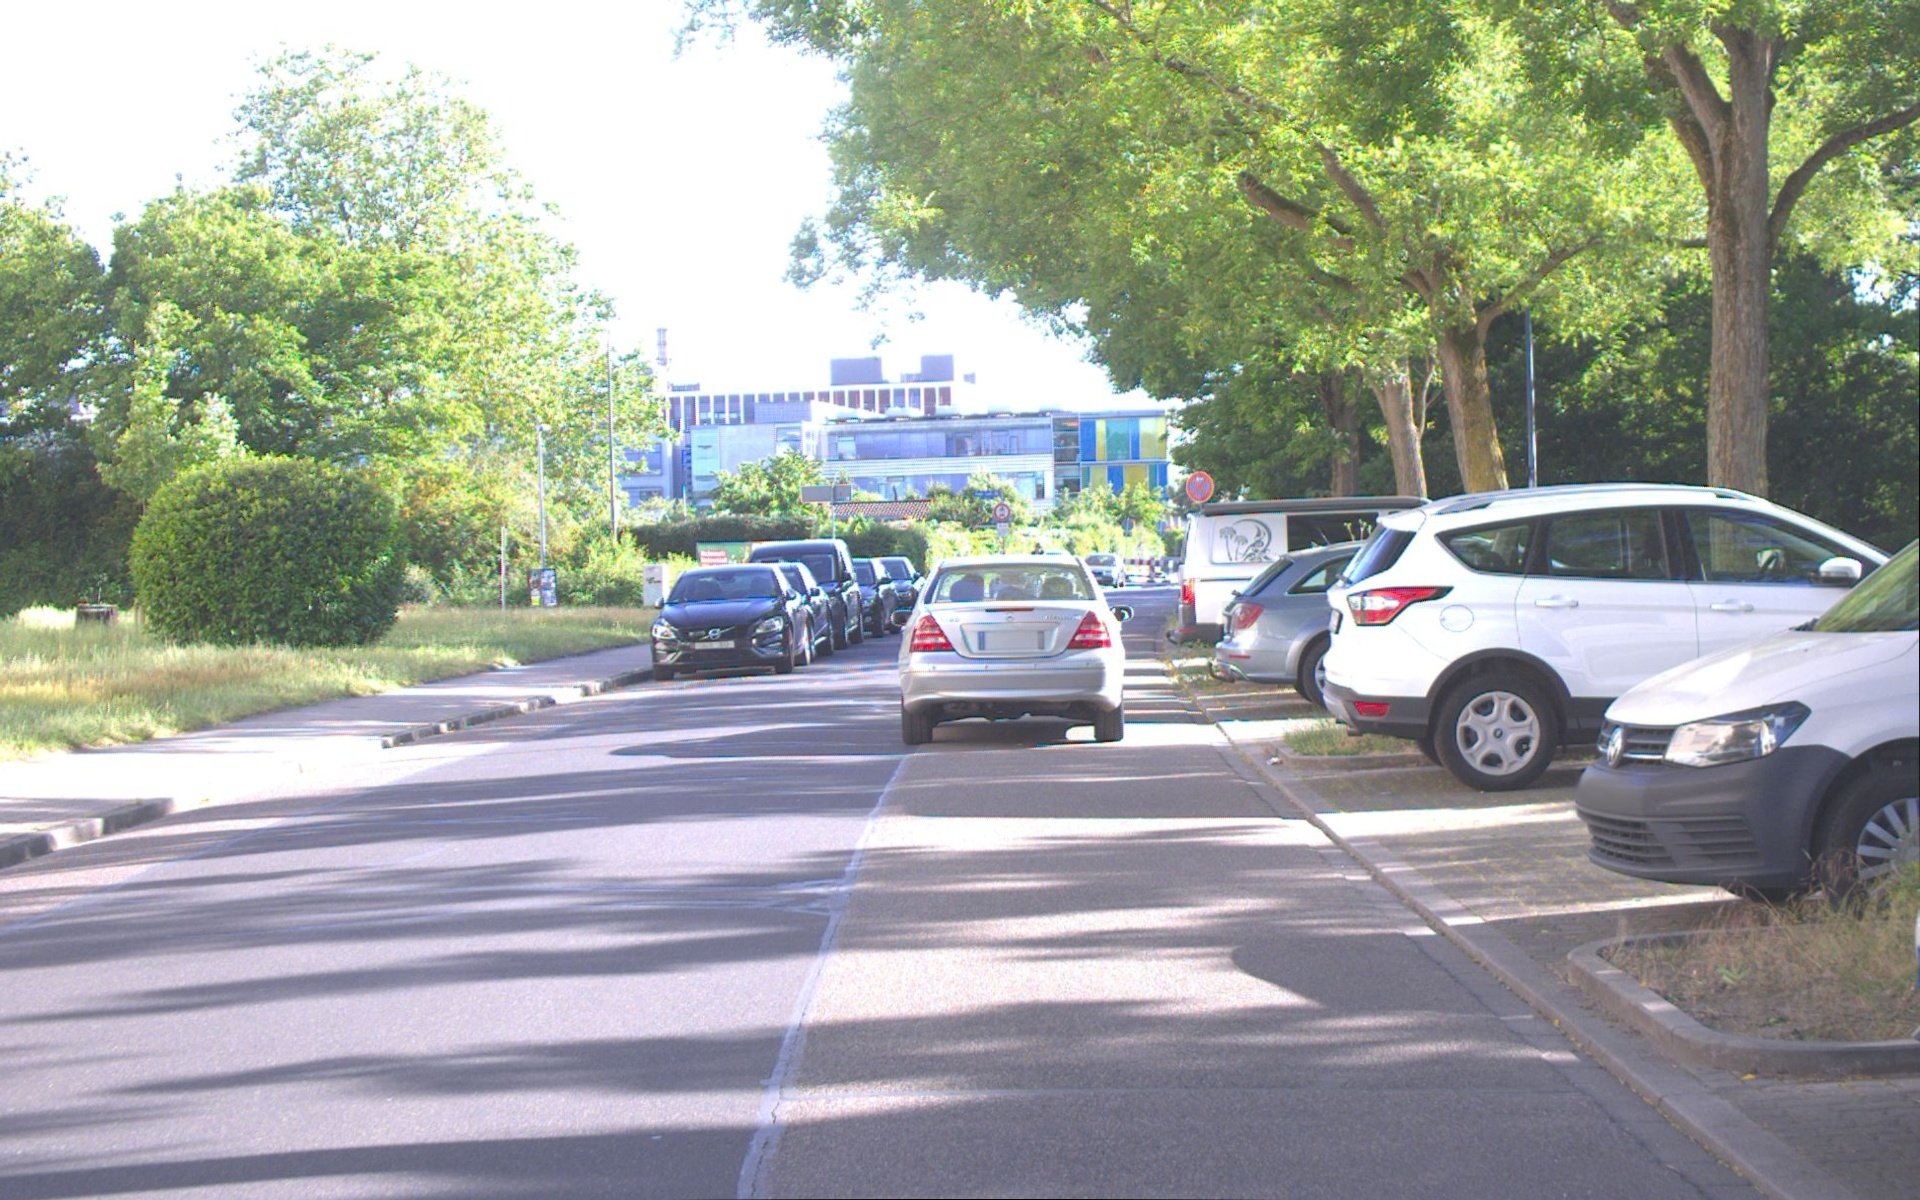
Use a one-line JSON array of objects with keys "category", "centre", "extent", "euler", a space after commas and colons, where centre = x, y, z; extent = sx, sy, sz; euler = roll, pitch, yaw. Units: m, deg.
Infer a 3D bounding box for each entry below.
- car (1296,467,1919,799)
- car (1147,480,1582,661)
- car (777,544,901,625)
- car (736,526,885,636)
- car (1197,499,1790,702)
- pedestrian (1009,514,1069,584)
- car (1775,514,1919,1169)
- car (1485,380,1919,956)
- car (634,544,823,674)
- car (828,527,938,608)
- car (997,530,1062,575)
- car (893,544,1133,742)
[{"category": "car", "centre": [4.543, 0.127, 20.350], "extent": [4.884, 1.717, 2.000], "euler": [-3, 1, 2]}, {"category": "car", "centre": [4.983, -0.382, 42.968], "extent": [5.218, 2.052, 2.000], "euler": [-2, 1, 3]}, {"category": "car", "centre": [-2.215, -0.310, 64.007], "extent": [1.750, 1.325, 3.450], "euler": [-4, 1, 6]}, {"category": "car", "centre": [-2.456, -0.348, 57.436], "extent": [1.750, 1.682, 4.263], "euler": [-3, 1, 7]}, {"category": "car", "centre": [4.670, -0.014, 30.590], "extent": [4.884, 1.622, 2.000], "euler": [-2, 1, -2]}, {"category": "pedestrian", "centre": [2.465, -1.586, 106.408], "extent": [1.575, 2.082, 1.723], "euler": [-1, 1, 10]}, {"category": "car", "centre": [4.420, 0.452, 8.067], "extent": [4.444, 1.512, 2.000], "euler": [-3, 1, -1]}, {"category": "car", "centre": [4.650, 0.123, 12.900], "extent": [4.883, 1.917, 2.000], "euler": [-2, 1, -6]}, {"category": "car", "centre": [-3.002, 0.083, 45.383], "extent": [1.913, 1.485, 3.837], "euler": [-4, 1, 4]}, {"category": "car", "centre": [-1.547, -0.693, 70.549], "extent": [1.750, 1.515, 4.193], "euler": [-3, 1, 5]}, {"category": "car", "centre": [2.449, -1.670, 120.552], "extent": [1.894, 1.497, 3.656], "euler": [-1, 1, 7]}, {"category": "car", "centre": [0.423, 0.311, 26.793], "extent": [1.733, 1.429, 3.438], "euler": [-1, 0, 1]}]
